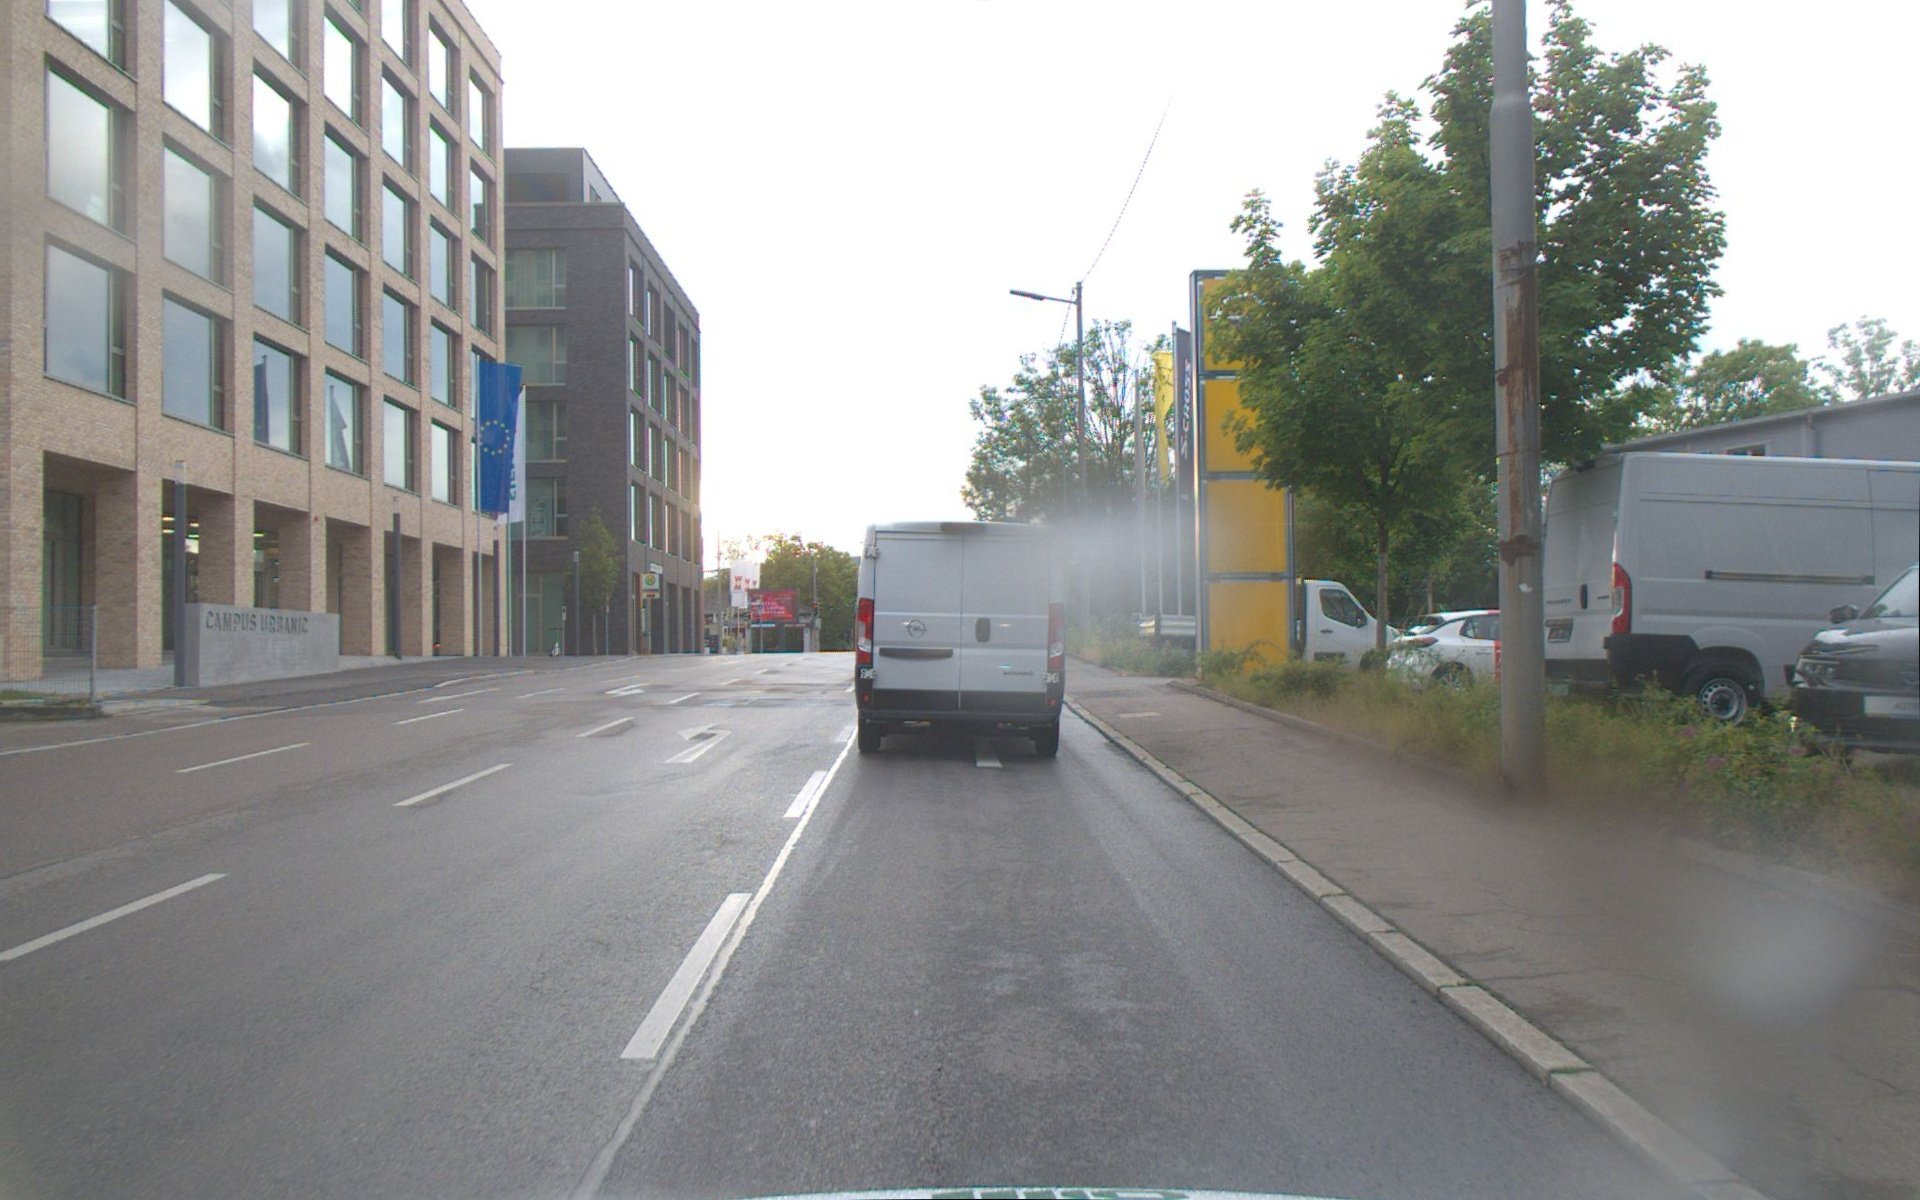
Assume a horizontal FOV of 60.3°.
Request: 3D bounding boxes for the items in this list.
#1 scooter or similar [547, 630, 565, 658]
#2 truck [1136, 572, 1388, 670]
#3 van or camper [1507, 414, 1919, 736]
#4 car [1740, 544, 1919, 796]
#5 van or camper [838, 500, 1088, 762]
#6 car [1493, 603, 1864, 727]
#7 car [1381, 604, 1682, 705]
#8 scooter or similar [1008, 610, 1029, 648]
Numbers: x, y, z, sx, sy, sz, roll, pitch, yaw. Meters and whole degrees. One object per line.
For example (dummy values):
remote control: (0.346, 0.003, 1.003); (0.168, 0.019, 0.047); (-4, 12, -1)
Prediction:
scooter or similar: (-15.742, 1.731, 64.482); (0.343, 1.090, 1.428); (0, -2, 0)
truck: (6.565, 0.442, 36.372); (5.045, 2.049, 2.344); (0, 0, -3)
van or camper: (8.338, -0.202, 15.544); (5.620, 2.771, 2.351); (0, 0, -1)
car: (7.210, 0.385, 11.330); (4.483, 1.480, 1.885); (-1, -2, -44)
van or camper: (0.025, 0.290, 17.862); (2.292, 2.398, 5.199); (0, 0, 0)
car: (8.929, 0.824, 20.780); (3.906, 1.456, 1.747); (1, -3, -1)
car: (8.547, 0.790, 24.998); (3.905, 1.453, 1.895); (0, 0, 0)
scooter or similar: (2.550, 1.269, 72.632); (0.428, 1.615, 1.263); (1, 0, -23)
